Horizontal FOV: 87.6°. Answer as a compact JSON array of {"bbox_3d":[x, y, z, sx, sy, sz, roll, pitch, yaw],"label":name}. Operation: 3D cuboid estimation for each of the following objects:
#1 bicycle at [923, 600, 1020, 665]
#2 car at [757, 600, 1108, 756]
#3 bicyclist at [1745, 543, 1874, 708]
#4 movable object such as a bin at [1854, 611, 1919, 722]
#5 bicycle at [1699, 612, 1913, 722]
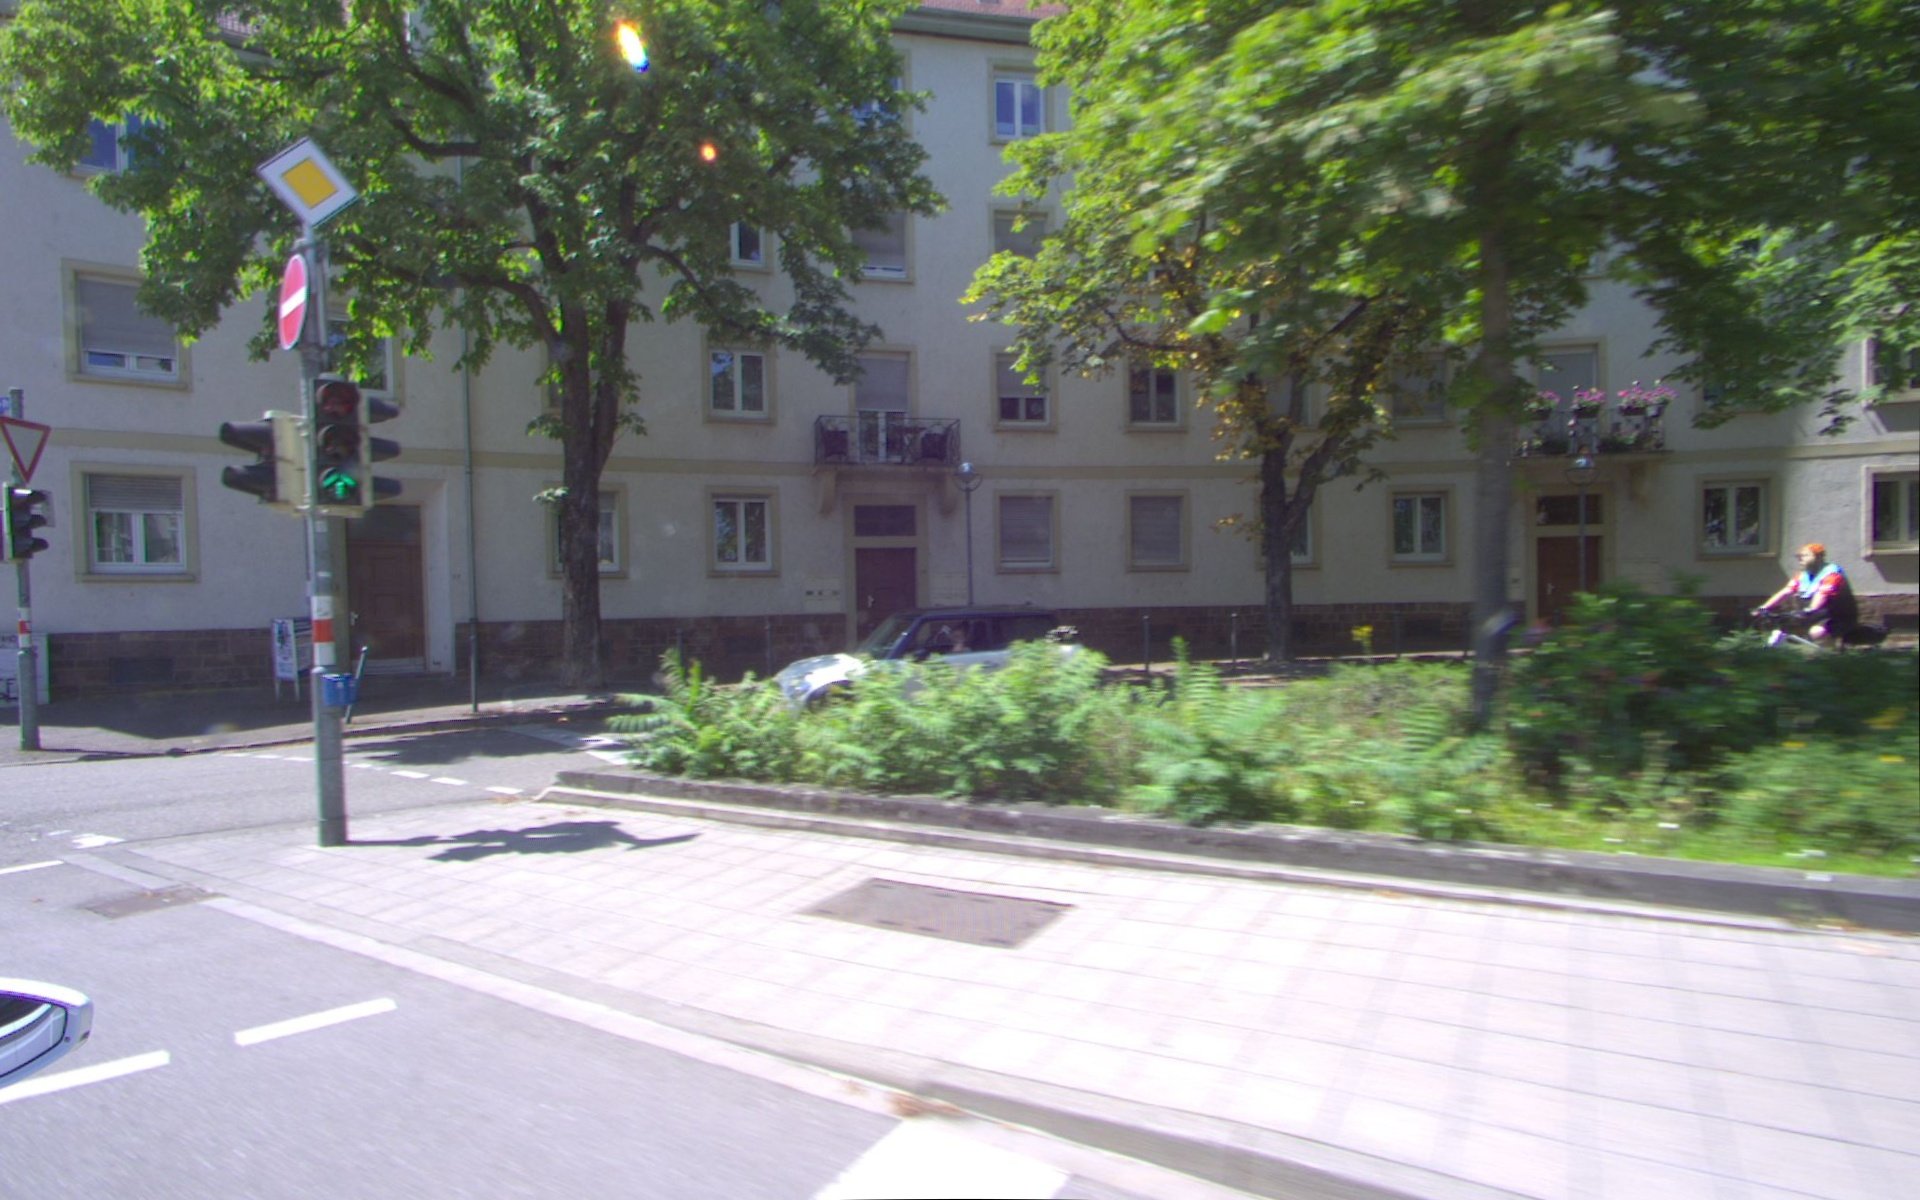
[{"bbox_3d":[0.203,0.604,18.756,1.769,1.170,0.640,-1,1,-3],"label":"bicycle"},{"bbox_3d":[-0.363,0.766,11.061,3.561,1.465,1.693,-1,0,-15],"label":"car"},{"bbox_3d":[9.531,0.283,11.262,0.848,1.790,0.698,-1,1,4],"label":"bicyclist"},{"bbox_3d":[11.216,0.711,11.127,1.730,1.170,0.868,-1,1,4],"label":"movable object such as a bin"},{"bbox_3d":[9.471,0.739,11.260,1.769,1.170,0.681,-1,1,5],"label":"bicycle"}]
